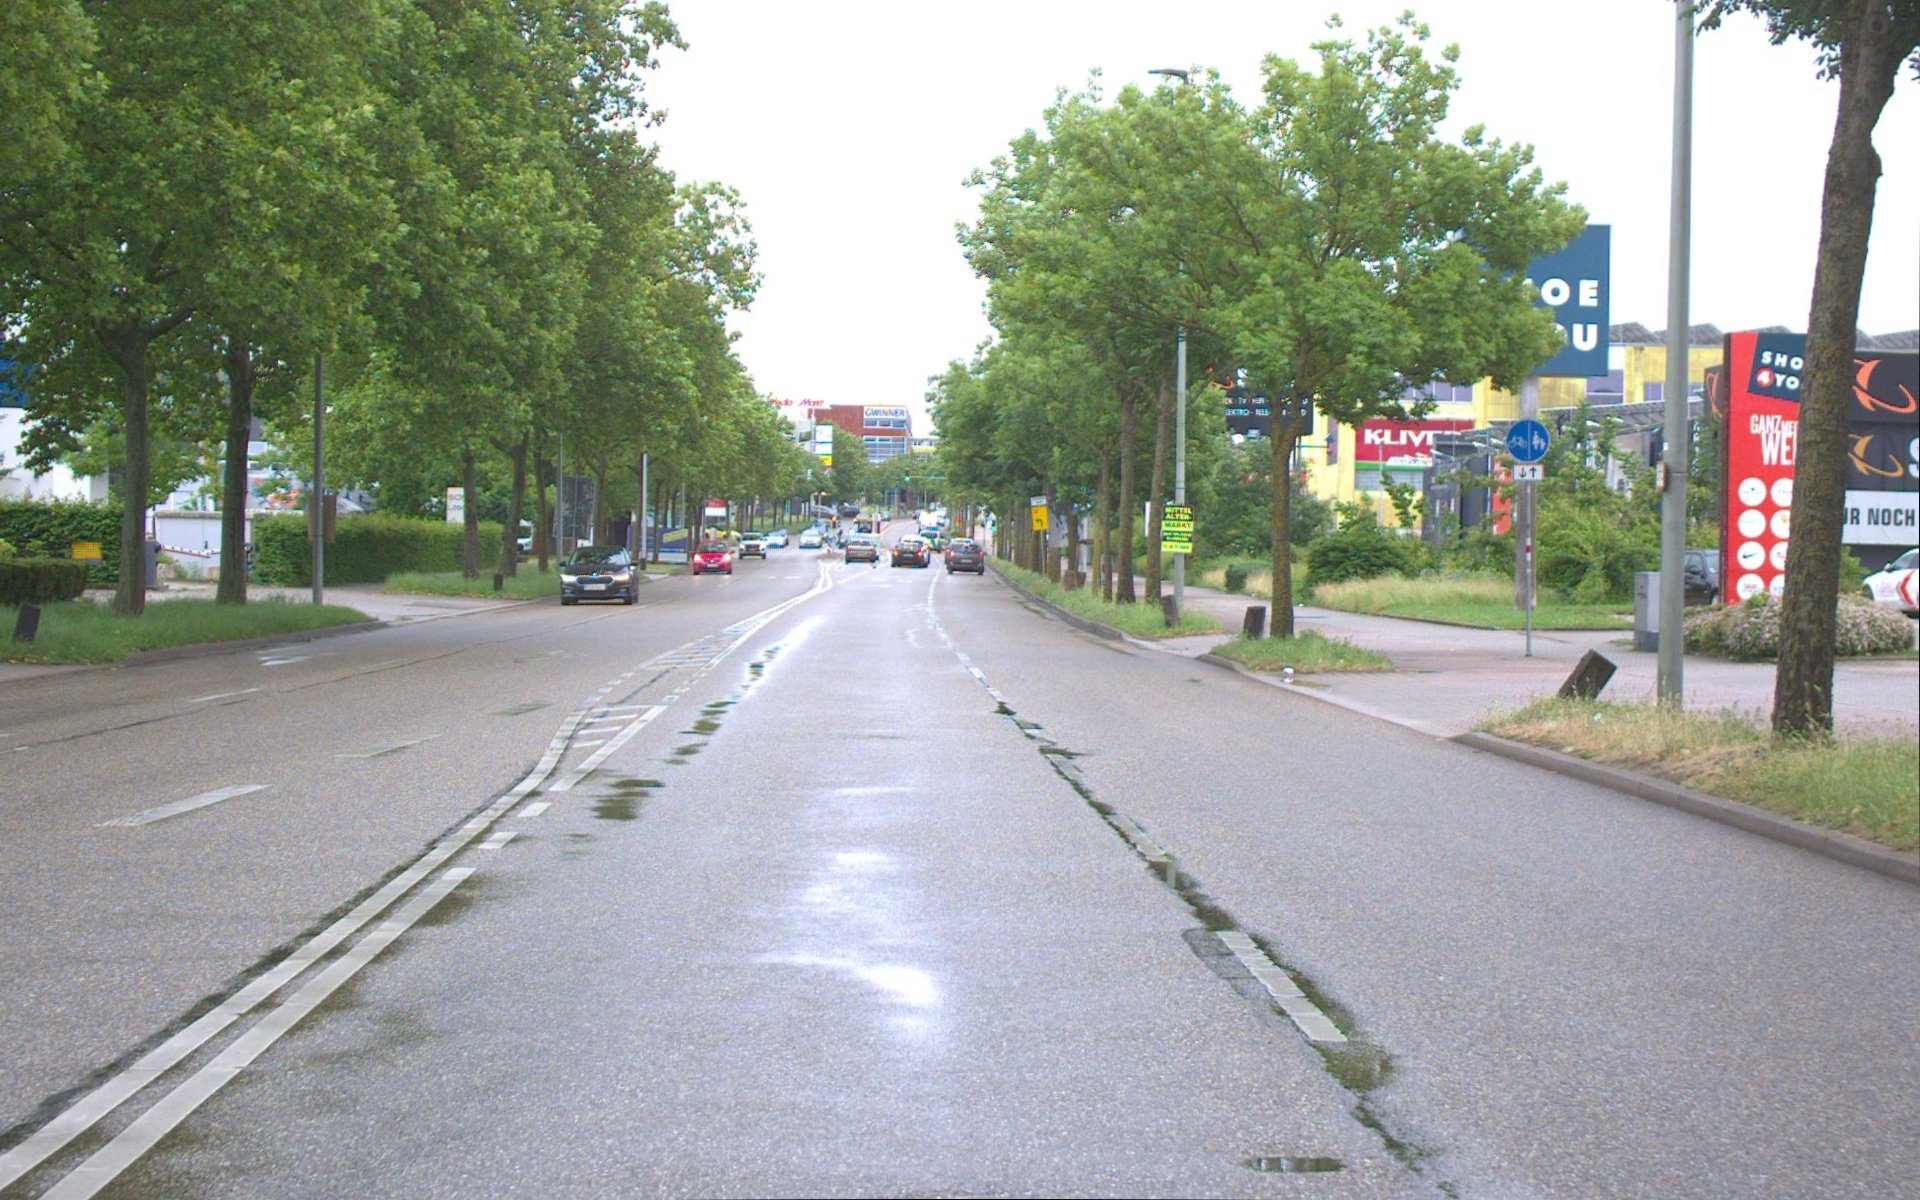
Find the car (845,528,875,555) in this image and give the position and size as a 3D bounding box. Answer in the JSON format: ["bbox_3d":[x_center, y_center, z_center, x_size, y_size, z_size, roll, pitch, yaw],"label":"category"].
[{"bbox_3d":[-6.444,-3.800,222.035,1.745,1.695,4.000,0,1,1],"label":"car"}]

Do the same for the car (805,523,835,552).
[{"bbox_3d":[-9.555,-4.273,235.042,1.993,2.007,4.000,0,1,-1],"label":"car"}]

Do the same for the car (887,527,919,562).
[{"bbox_3d":[-3.298,-3.233,199.292,1.745,2.007,4.000,-1,1,1],"label":"car"}]

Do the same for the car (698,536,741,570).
[{"bbox_3d":[-10.742,-2.105,153.725,1.726,1.512,3.821,0,1,-1],"label":"car"}]

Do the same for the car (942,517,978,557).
[{"bbox_3d":[0.021,-3.226,175.229,1.745,2.007,4.000,0,1,1],"label":"car"}]

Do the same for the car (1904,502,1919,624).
[{"bbox_3d":[18.328,-0.609,56.899,4.820,2.007,1.991,0,0,-10],"label":"car"}]

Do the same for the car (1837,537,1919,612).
[{"bbox_3d":[20.030,-0.530,70.874,1.880,1.463,4.954,0,2,-10],"label":"car"}]

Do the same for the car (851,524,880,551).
[{"bbox_3d":[-6.482,-4.290,236.585,1.891,1.870,4.124,0,1,-1],"label":"car"}]

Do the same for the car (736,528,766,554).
[{"bbox_3d":[-14.359,-4.066,236.624,1.704,1.731,4.000,0,1,2],"label":"car"}]

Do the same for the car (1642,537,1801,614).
[{"bbox_3d":[15.177,-0.513,68.710,1.577,1.423,4.267,0,2,-10],"label":"car"}]

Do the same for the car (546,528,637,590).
[{"bbox_3d":[-9.006,-1.022,84.284,1.804,1.458,3.846,-1,1,0],"label":"car"}]
